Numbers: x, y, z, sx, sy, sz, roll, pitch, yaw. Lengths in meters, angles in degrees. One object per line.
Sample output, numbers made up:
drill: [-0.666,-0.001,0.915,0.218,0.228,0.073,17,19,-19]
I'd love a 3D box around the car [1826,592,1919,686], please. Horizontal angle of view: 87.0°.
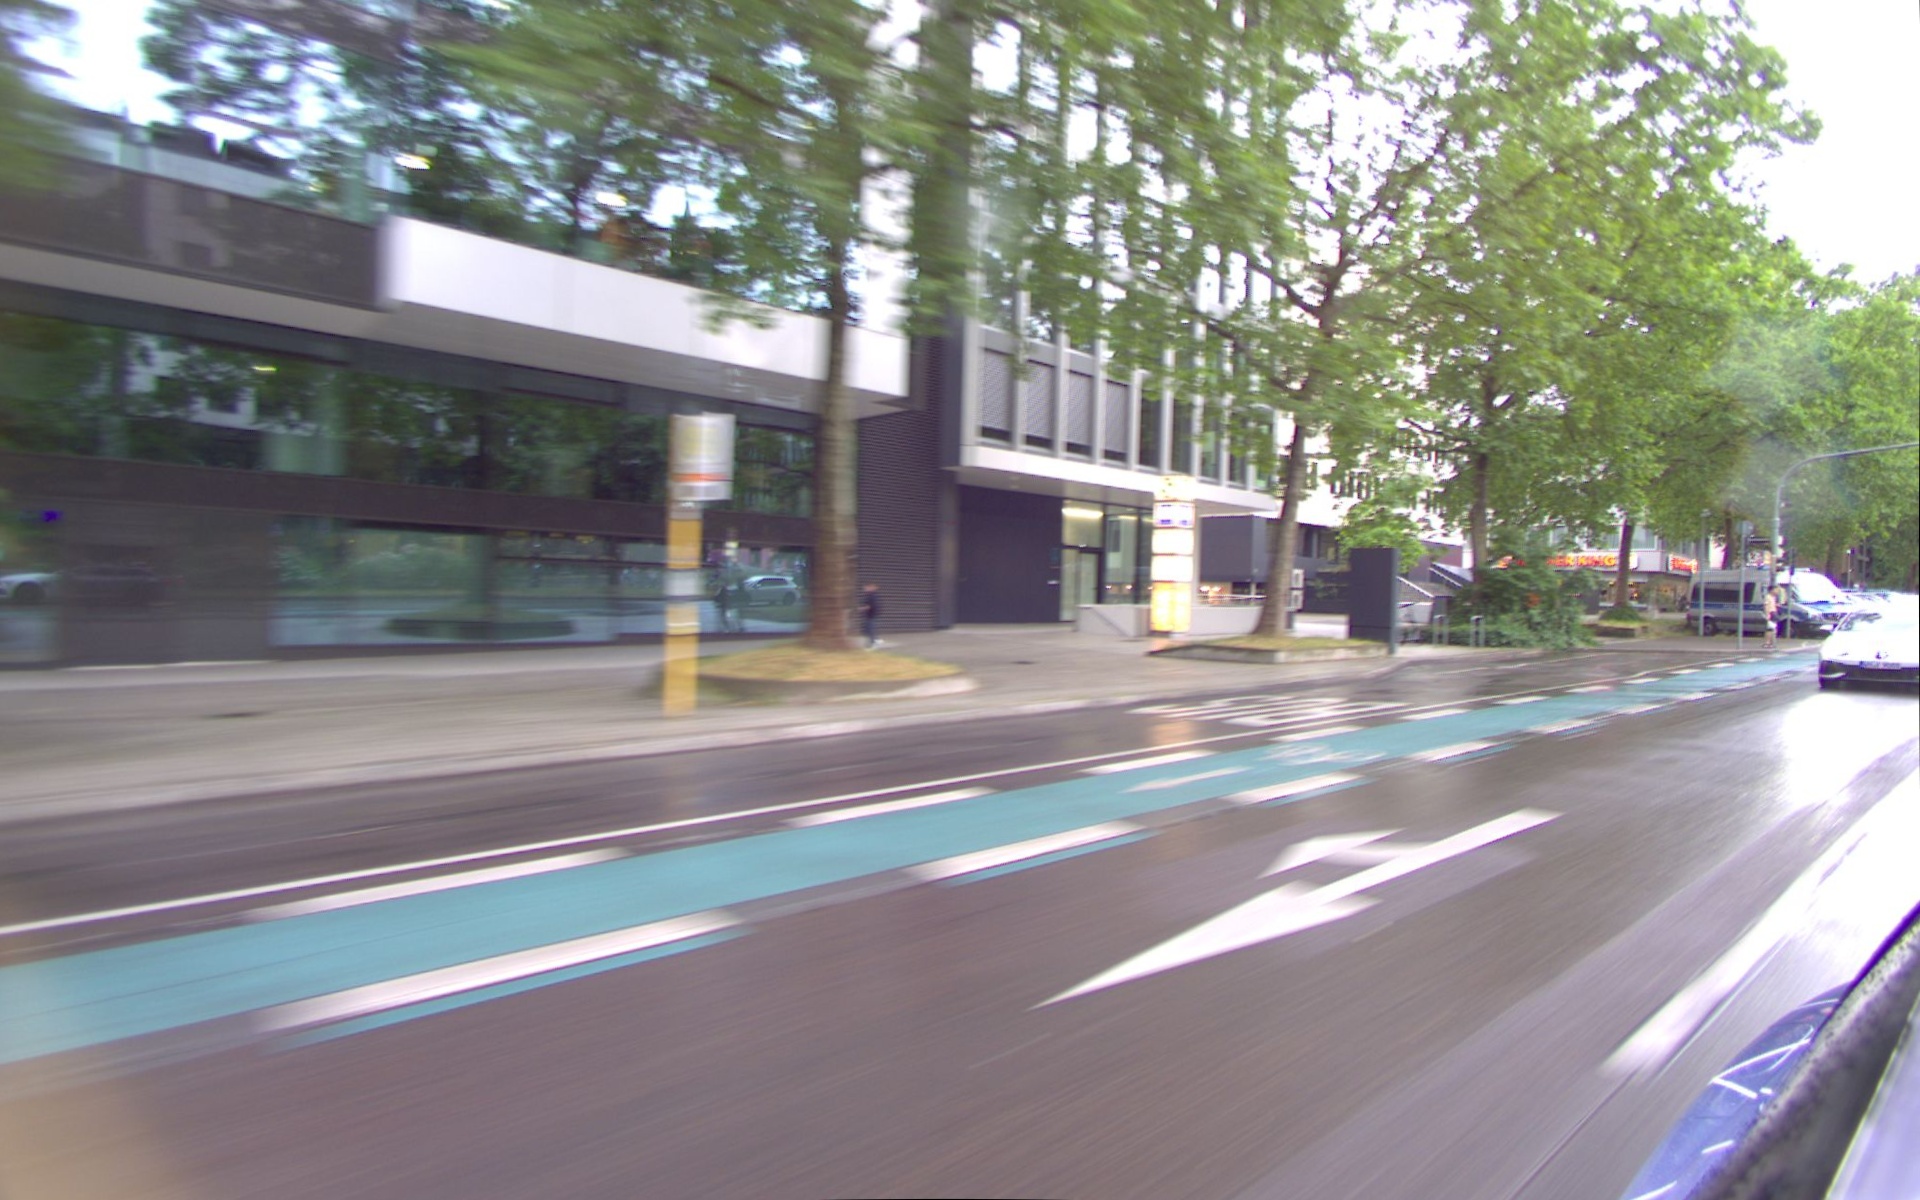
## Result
car: [16.634,0.616,17.635,3.727,1.490,1.794,0,0,-40]

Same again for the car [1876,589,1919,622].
car: [46.140,0.252,49.513,3.366,1.534,1.597,0,1,-41]

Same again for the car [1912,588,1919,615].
car: [56.278,0.085,58.458,3.366,1.545,1.597,0,1,-41]

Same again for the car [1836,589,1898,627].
car: [39.084,0.313,43.603,3.366,1.545,1.597,0,1,-41]

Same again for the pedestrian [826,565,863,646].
pedestrian: [-2.734,0.119,23.971,0.692,1.881,0.523,-2,4,-41]

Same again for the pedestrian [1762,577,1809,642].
pedestrian: [24.223,0.272,29.685,0.707,1.872,0.893,-1,0,-33]

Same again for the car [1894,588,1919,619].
car: [49.568,0.166,52.273,3.366,1.545,1.597,0,1,-41]

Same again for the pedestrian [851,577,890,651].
pedestrian: [-2.053,0.300,23.284,0.707,1.645,0.527,-2,4,-41]

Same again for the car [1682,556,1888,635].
car: [30.932,-0.217,38.317,2.275,2.713,6.292,-1,1,-5]

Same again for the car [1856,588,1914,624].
car: [42.193,0.244,46.129,3.366,1.545,1.597,0,1,-41]
